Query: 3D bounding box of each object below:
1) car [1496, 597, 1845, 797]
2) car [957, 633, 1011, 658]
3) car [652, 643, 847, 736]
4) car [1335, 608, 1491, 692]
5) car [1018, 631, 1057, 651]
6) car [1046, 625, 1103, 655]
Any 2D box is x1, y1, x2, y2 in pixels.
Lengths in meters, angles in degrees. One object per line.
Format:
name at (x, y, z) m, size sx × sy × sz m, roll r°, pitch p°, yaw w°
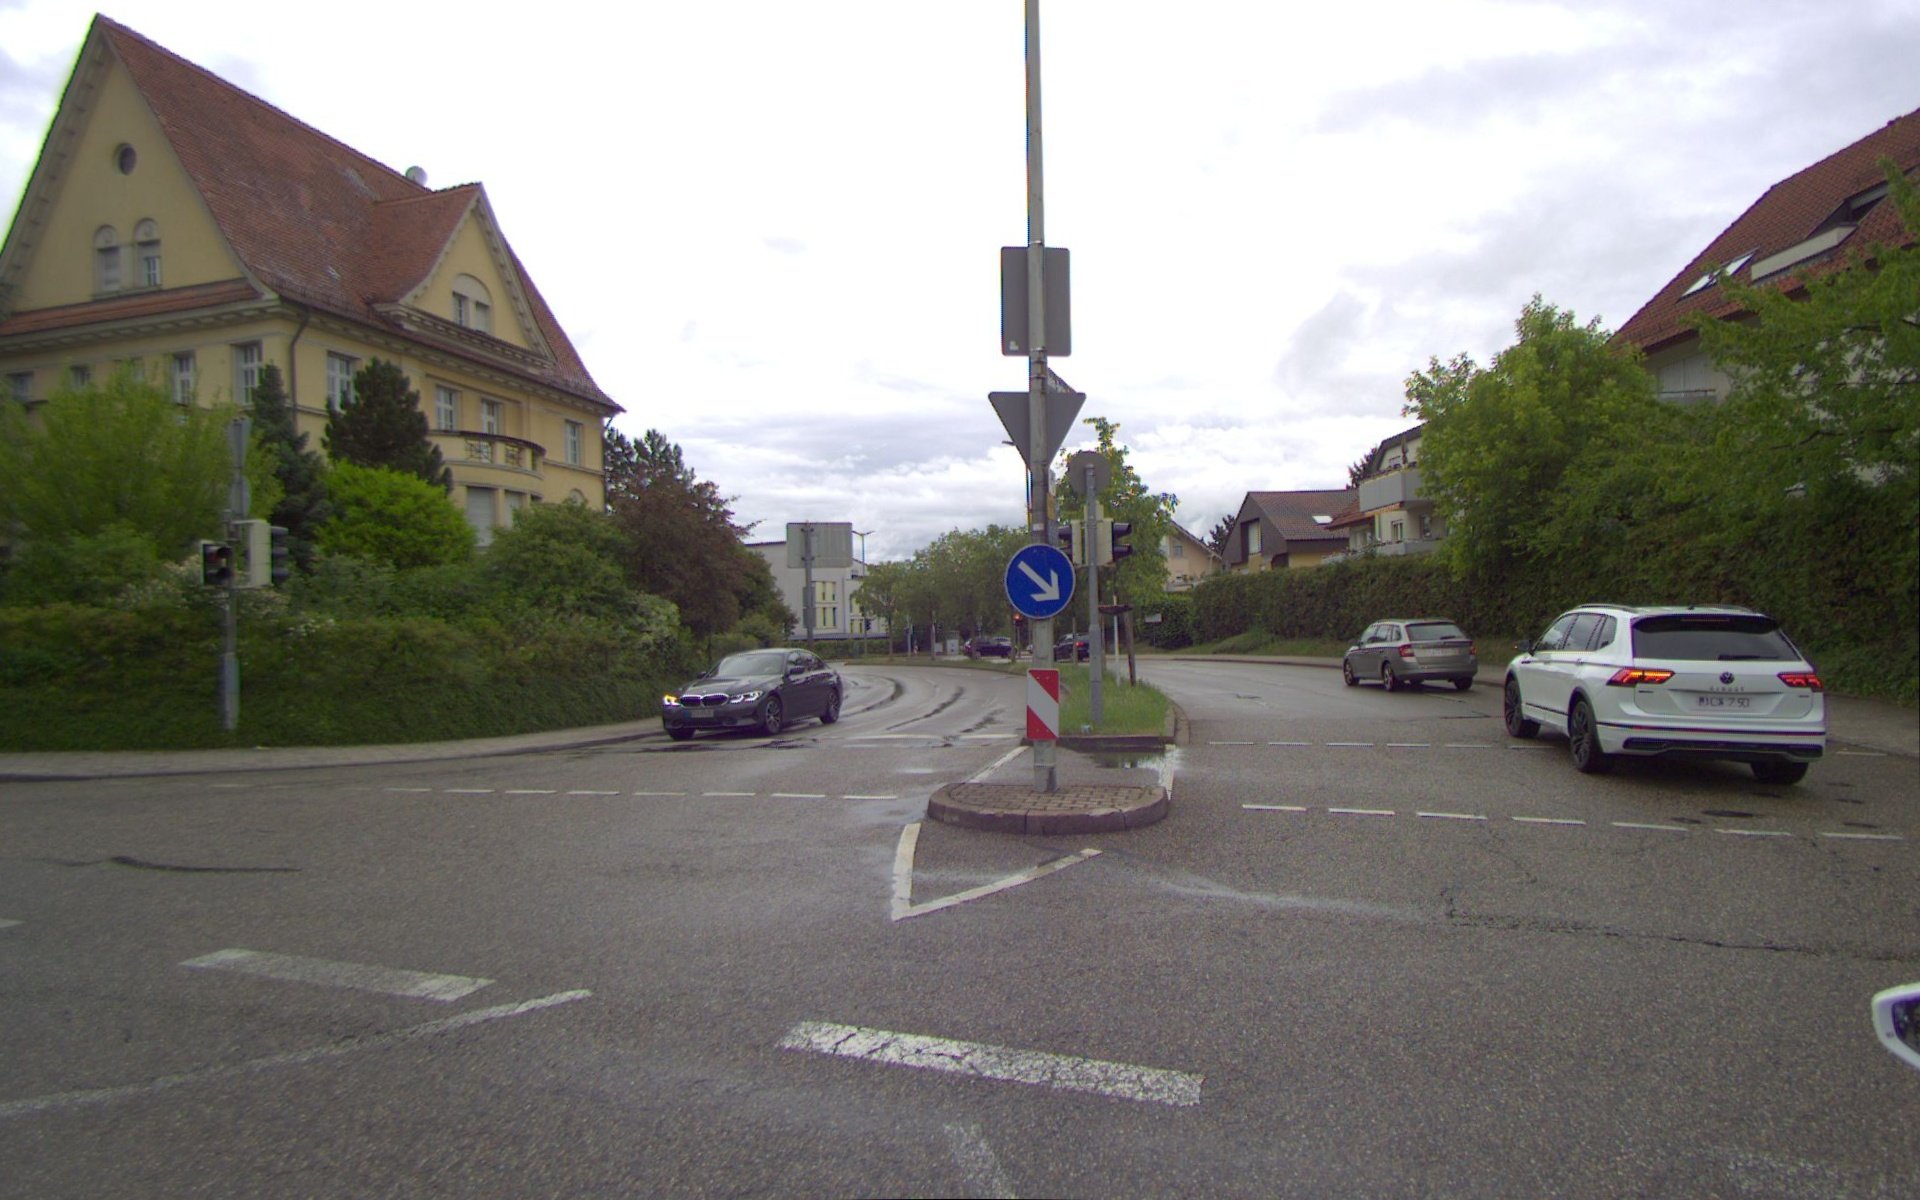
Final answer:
car at (7.334, 0.853, 10.929) m, size 1.733 × 1.718 × 4.274 m, roll 0°, pitch 0°, yaw 15°
car at (1.939, 3.646, 81.238) m, size 4.010 × 1.921 × 1.724 m, roll 0°, pitch 0°, yaw -14°
car at (-3.518, 1.501, 17.694) m, size 1.740 × 1.411 × 4.439 m, roll -1°, pitch -3°, yaw 11°
car at (9.572, 0.992, 21.560) m, size 1.768 × 1.610 × 3.927 m, roll 0°, pitch 0°, yaw 3°
car at (7.258, 3.833, 94.267) m, size 3.607 × 1.810 × 1.732 m, roll 0°, pitch 0°, yaw 4°
car at (6.039, 2.157, 53.397) m, size 1.736 × 1.498 × 3.991 m, roll 0°, pitch -3°, yaw -14°
